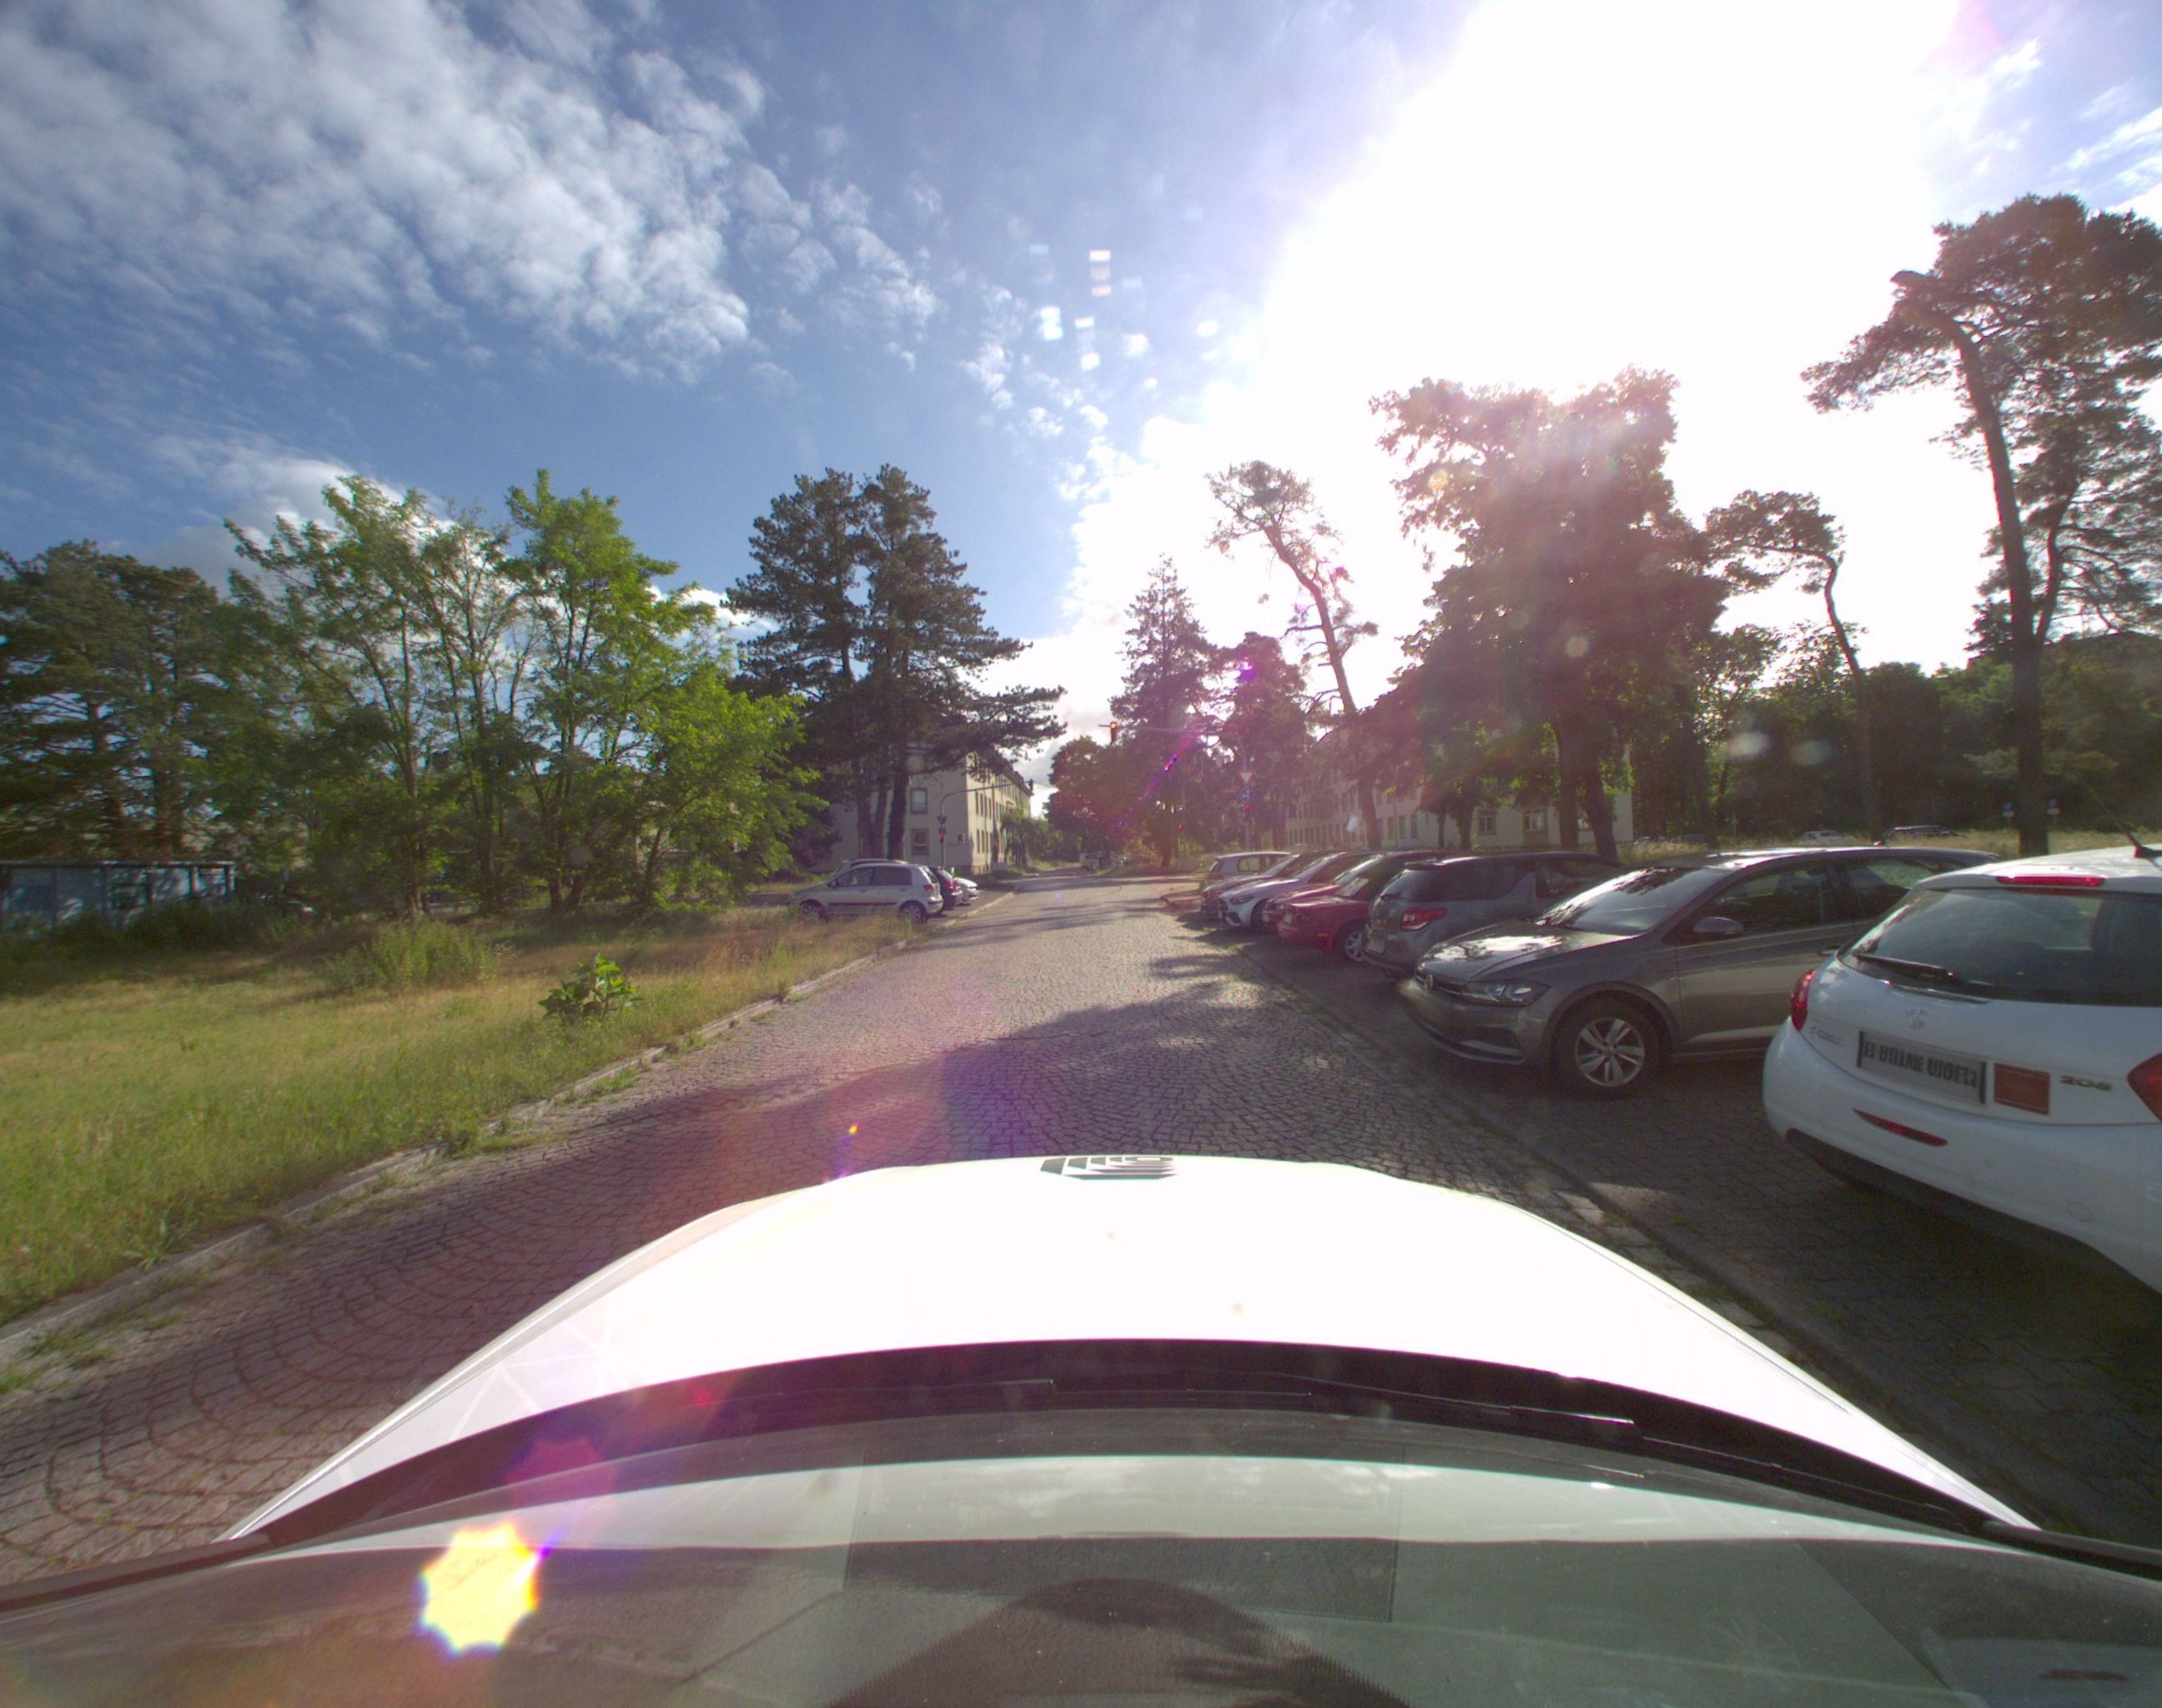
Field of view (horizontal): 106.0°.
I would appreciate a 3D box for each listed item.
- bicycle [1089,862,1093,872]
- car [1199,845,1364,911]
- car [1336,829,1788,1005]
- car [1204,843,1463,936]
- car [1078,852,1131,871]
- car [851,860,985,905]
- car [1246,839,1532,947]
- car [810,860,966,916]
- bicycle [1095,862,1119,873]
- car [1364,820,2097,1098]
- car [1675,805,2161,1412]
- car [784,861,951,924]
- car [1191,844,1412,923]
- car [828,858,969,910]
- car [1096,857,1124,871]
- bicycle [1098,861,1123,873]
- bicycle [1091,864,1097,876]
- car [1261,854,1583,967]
[{"bbox_3d":[0.963,1.254,79.826,0.416,1.010,1.484,0,-1,2],"label":"bicycle"},{"bbox_3d":[5.143,0.602,21.259,3.868,1.415,1.637,-4,0,1],"label":"car"},{"bbox_3d":[4.867,0.599,8.680,3.694,1.449,1.816,-4,0,0],"label":"car"},{"bbox_3d":[4.736,0.645,15.766,4.416,1.415,1.781,-4,0,1],"label":"car"},{"bbox_3d":[2.542,0.849,88.231,5.535,2.014,1.988,0,-1,-17],"label":"car"},{"bbox_3d":[-5.575,0.966,28.277,4.322,1.468,1.829,0,0,-2],"label":"car"},{"bbox_3d":[5.002,0.611,13.623,4.112,1.449,1.637,-4,0,1],"label":"car"},{"bbox_3d":[-5.364,0.925,23.029,3.977,1.480,1.802,0,0,-2],"label":"car"},{"bbox_3d":[2.287,1.178,71.872,2.002,1.010,0.630,0,-1,-7],"label":"bicycle"},{"bbox_3d":[4.207,0.630,5.817,3.694,1.449,1.857,-4,0,1],"label":"car"},{"bbox_3d":[4.633,0.566,2.891,3.694,1.534,1.761,-4,0,1],"label":"car"},{"bbox_3d":[-5.257,0.931,20.405,3.737,1.487,1.644,0,0,-2],"label":"car"},{"bbox_3d":[4.885,0.637,18.481,4.543,1.415,1.637,-4,0,1],"label":"car"},{"bbox_3d":[-5.739,0.922,25.994,4.070,1.593,1.884,0,0,-2],"label":"car"},{"bbox_3d":[3.016,1.013,84.632,2.776,1.467,1.669,0,-1,-4],"label":"car"},{"bbox_3d":[2.510,1.154,70.169,2.107,1.010,0.619,0,-1,-7],"label":"bicycle"},{"bbox_3d":[1.068,1.318,66.581,0.466,1.010,1.584,0,-1,-2],"label":"bicycle"},{"bbox_3d":[4.546,0.724,11.284,3.694,1.223,1.747,-4,0,1],"label":"car"}]
